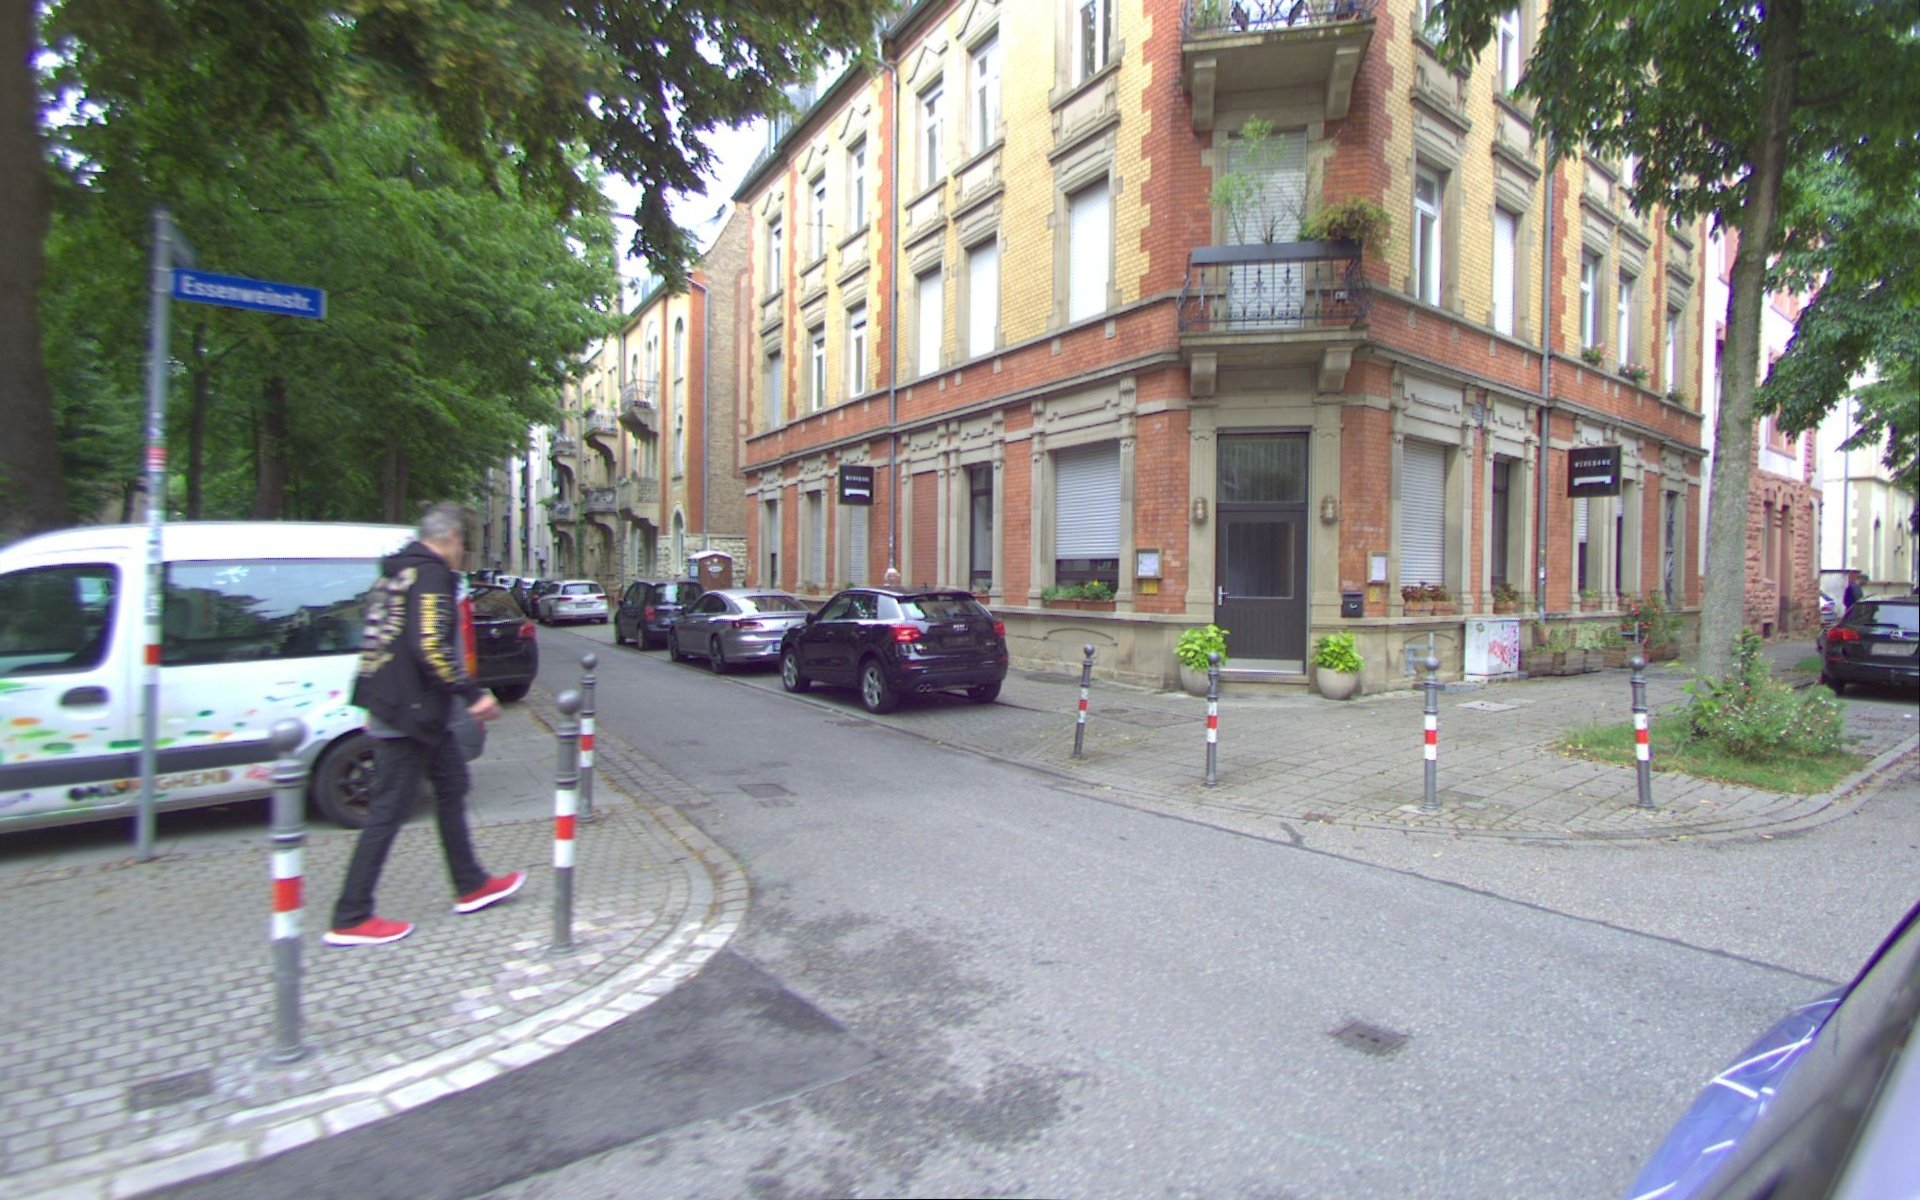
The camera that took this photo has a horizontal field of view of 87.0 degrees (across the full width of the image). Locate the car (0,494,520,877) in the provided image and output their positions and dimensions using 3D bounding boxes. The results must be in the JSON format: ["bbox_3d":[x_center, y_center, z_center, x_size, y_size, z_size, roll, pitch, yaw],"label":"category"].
[{"bbox_3d":[-4.827,0.382,5.805,3.926,1.841,1.775,-1,2,-38],"label":"car"}]

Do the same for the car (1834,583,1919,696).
[{"bbox_3d":[14.839,0.542,15.271,4.400,1.504,1.768,0,3,-40],"label":"car"}]

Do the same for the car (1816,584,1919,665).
[{"bbox_3d":[19.677,0.541,19.532,4.385,1.444,1.750,3,3,17],"label":"car"}]

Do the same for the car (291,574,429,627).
[{"bbox_3d":[-18.336,-0.020,30.906,3.955,1.482,1.652,1,1,23],"label":"car"}]

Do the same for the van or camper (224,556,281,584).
[{"bbox_3d":[-79.323,-3.387,113.500,4.957,3.073,1.996,-1,1,-43],"label":"van or camper"}]

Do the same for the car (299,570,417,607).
[{"bbox_3d":[-24.796,-0.485,41.724,3.930,1.407,1.737,1,1,6],"label":"car"}]

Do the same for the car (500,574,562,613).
[{"bbox_3d":[-18.249,-0.339,42.954,1.960,1.514,4.338,-2,2,-28],"label":"car"}]

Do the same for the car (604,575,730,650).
[{"bbox_3d":[-7.029,0.208,23.981,1.960,1.552,4.338,-2,2,-28],"label":"car"}]

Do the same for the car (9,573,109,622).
[{"bbox_3d":[-27.241,-0.095,30.704,1.479,1.385,3.525,-2,1,-28],"label":"car"}]

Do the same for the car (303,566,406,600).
[{"bbox_3d":[-28.475,-0.812,47.662,3.930,1.550,1.737,1,1,6],"label":"car"}]

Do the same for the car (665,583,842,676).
[{"bbox_3d":[-3.869,0.427,18.344,1.960,1.371,4.338,-2,2,-28],"label":"car"}]

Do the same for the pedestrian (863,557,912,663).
[{"bbox_3d":[-1.227,0.156,17.020,0.551,1.727,0.750,0,1,-29],"label":"pedestrian"}]

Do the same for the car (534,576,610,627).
[{"bbox_3d":[-13.099,-0.010,34.006,1.808,1.514,4.280,-2,2,-28],"label":"car"}]

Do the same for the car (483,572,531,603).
[{"bbox_3d":[-23.621,-0.664,52.671,1.959,1.514,4.339,0,2,-28],"label":"car"}]

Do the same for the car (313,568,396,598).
[{"bbox_3d":[-35.297,-1.004,59.022,3.930,1.631,1.737,1,1,6],"label":"car"}]

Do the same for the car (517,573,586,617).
[{"bbox_3d":[-15.832,-0.247,39.081,1.960,1.514,4.338,-2,2,-28],"label":"car"}]

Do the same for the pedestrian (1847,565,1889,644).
[{"bbox_3d":[20.705,0.093,23.081,0.652,1.754,0.598,0,2,-41],"label":"pedestrian"}]

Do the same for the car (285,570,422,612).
[{"bbox_3d":[-21.432,-0.327,35.845,3.930,1.407,1.737,1,1,6],"label":"car"}]

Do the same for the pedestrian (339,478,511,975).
[{"bbox_3d":[-2.215,0.455,4.167,0.500,1.819,0.781,0,0,-37],"label":"pedestrian"}]

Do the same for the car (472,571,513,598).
[{"bbox_3d":[-28.247,-0.970,61.117,1.959,1.514,4.339,0,2,-28],"label":"car"}]

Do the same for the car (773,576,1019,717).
[{"bbox_3d":[-0.992,0.480,13.491,1.628,1.559,3.837,-1,2,-33],"label":"car"}]

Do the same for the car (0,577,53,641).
[{"bbox_3d":[-22.140,0.201,22.993,1.479,1.385,3.525,-2,1,-28],"label":"car"}]

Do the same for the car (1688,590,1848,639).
[{"bbox_3d":[27.262,0.455,34.245,1.581,1.472,3.996,-1,2,-40],"label":"car"}]

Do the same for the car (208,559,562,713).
[{"bbox_3d":[-6.911,0.346,12.168,3.907,1.601,1.672,1,0,23],"label":"car"}]
